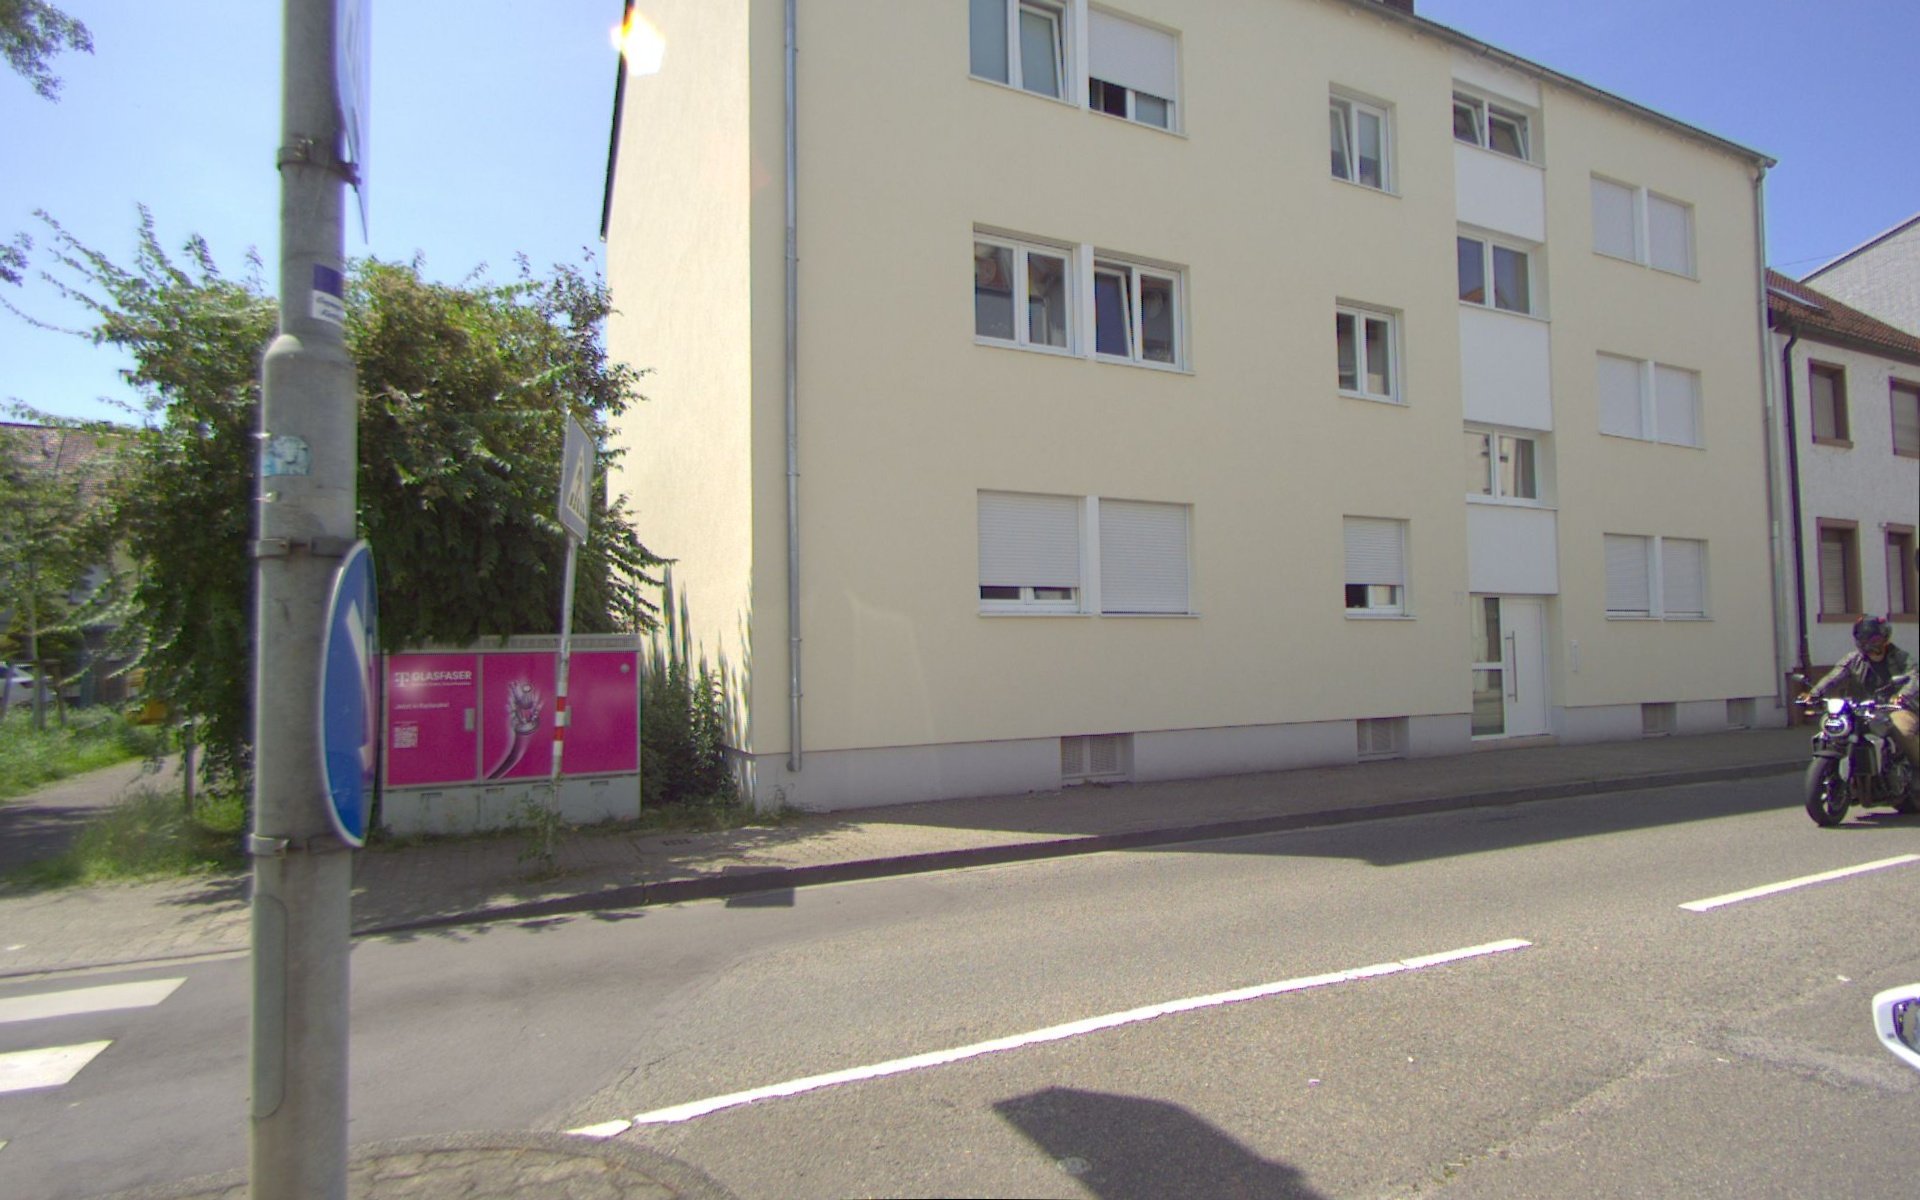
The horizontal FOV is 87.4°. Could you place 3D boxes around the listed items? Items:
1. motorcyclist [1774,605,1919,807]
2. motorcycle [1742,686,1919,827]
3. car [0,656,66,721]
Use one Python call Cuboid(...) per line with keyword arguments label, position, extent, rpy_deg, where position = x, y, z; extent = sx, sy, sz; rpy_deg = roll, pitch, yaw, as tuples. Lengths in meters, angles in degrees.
Cuboid(label="motorcyclist", position=(7.864, 0.889, 8.780), extent=(1.053, 1.655, 0.711), rpy_deg=(0, -3, -24))
Cuboid(label="motorcycle", position=(7.916, 1.315, 8.787), extent=(2.208, 1.042, 0.711), rpy_deg=(0, -3, -24))
Cuboid(label="car", position=(-24.610, 2.164, 24.283), extent=(4.240, 1.474, 1.657), rpy_deg=(1, -1, -33))
